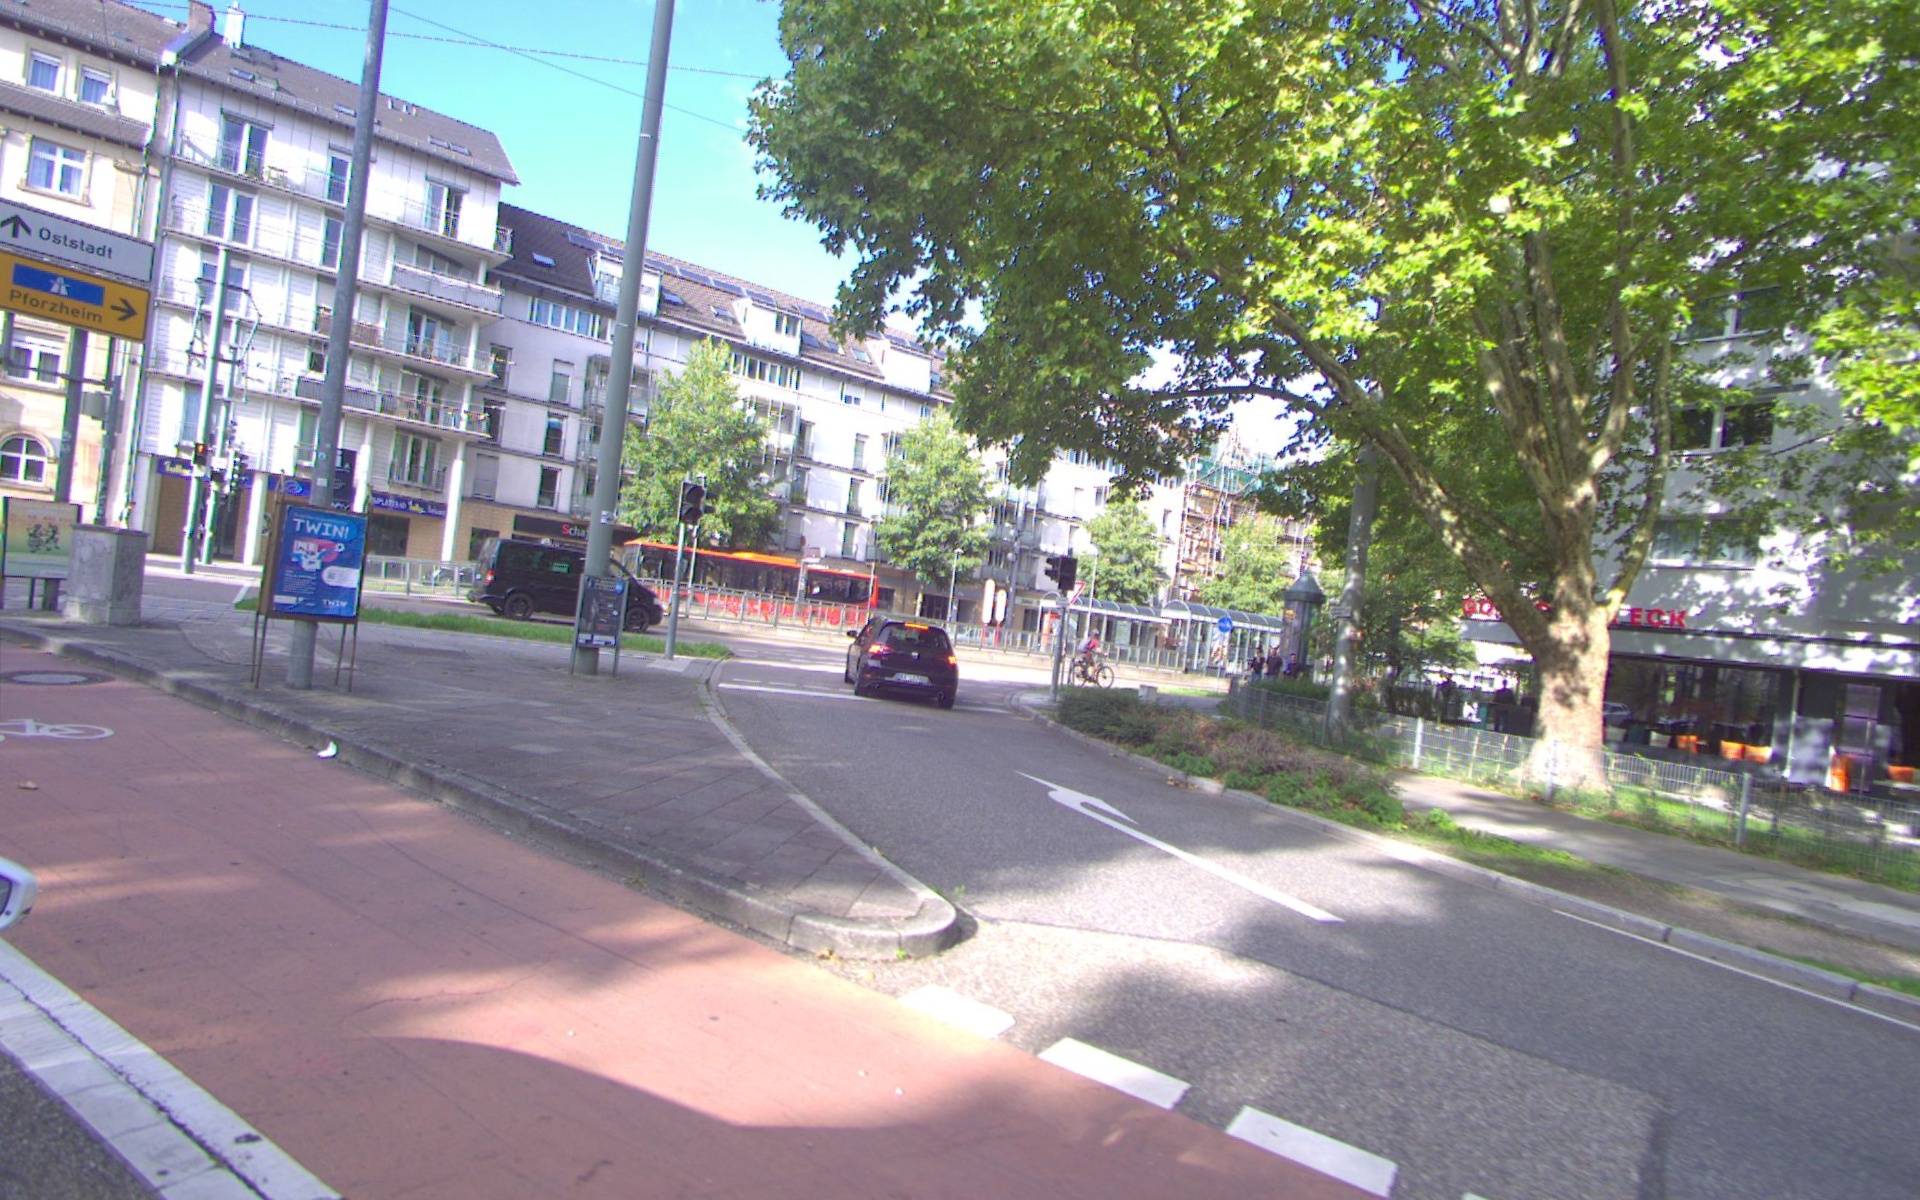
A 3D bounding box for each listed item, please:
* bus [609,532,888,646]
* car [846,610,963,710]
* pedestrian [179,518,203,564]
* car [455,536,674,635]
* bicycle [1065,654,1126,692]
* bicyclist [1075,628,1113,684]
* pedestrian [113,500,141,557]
[{"bbox_3d":[-9.481,-0.383,46.527,12.194,3.590,3.000,8,-1,-35],"label":"bus"},{"bbox_3d":[-1.142,1.033,18.621,1.727,1.430,3.997,8,-2,-7],"label":"car"},{"bbox_3d":[-30.436,-2.338,39.822,0.493,1.733,0.522,9,-2,-34],"label":"pedestrian"},{"bbox_3d":[-10.273,-0.340,26.340,4.822,1.893,2.009,8,-1,-39],"label":"car"},{"bbox_3d":[4.172,2.263,30.931,1.817,0.967,0.568,8,-1,-32],"label":"bicycle"},{"bbox_3d":[4.099,1.702,30.807,0.773,1.598,0.620,7,0,-33],"label":"bicyclist"},{"bbox_3d":[-32.288,-2.772,39.007,0.522,2.116,0.493,9,-2,-32],"label":"pedestrian"}]
